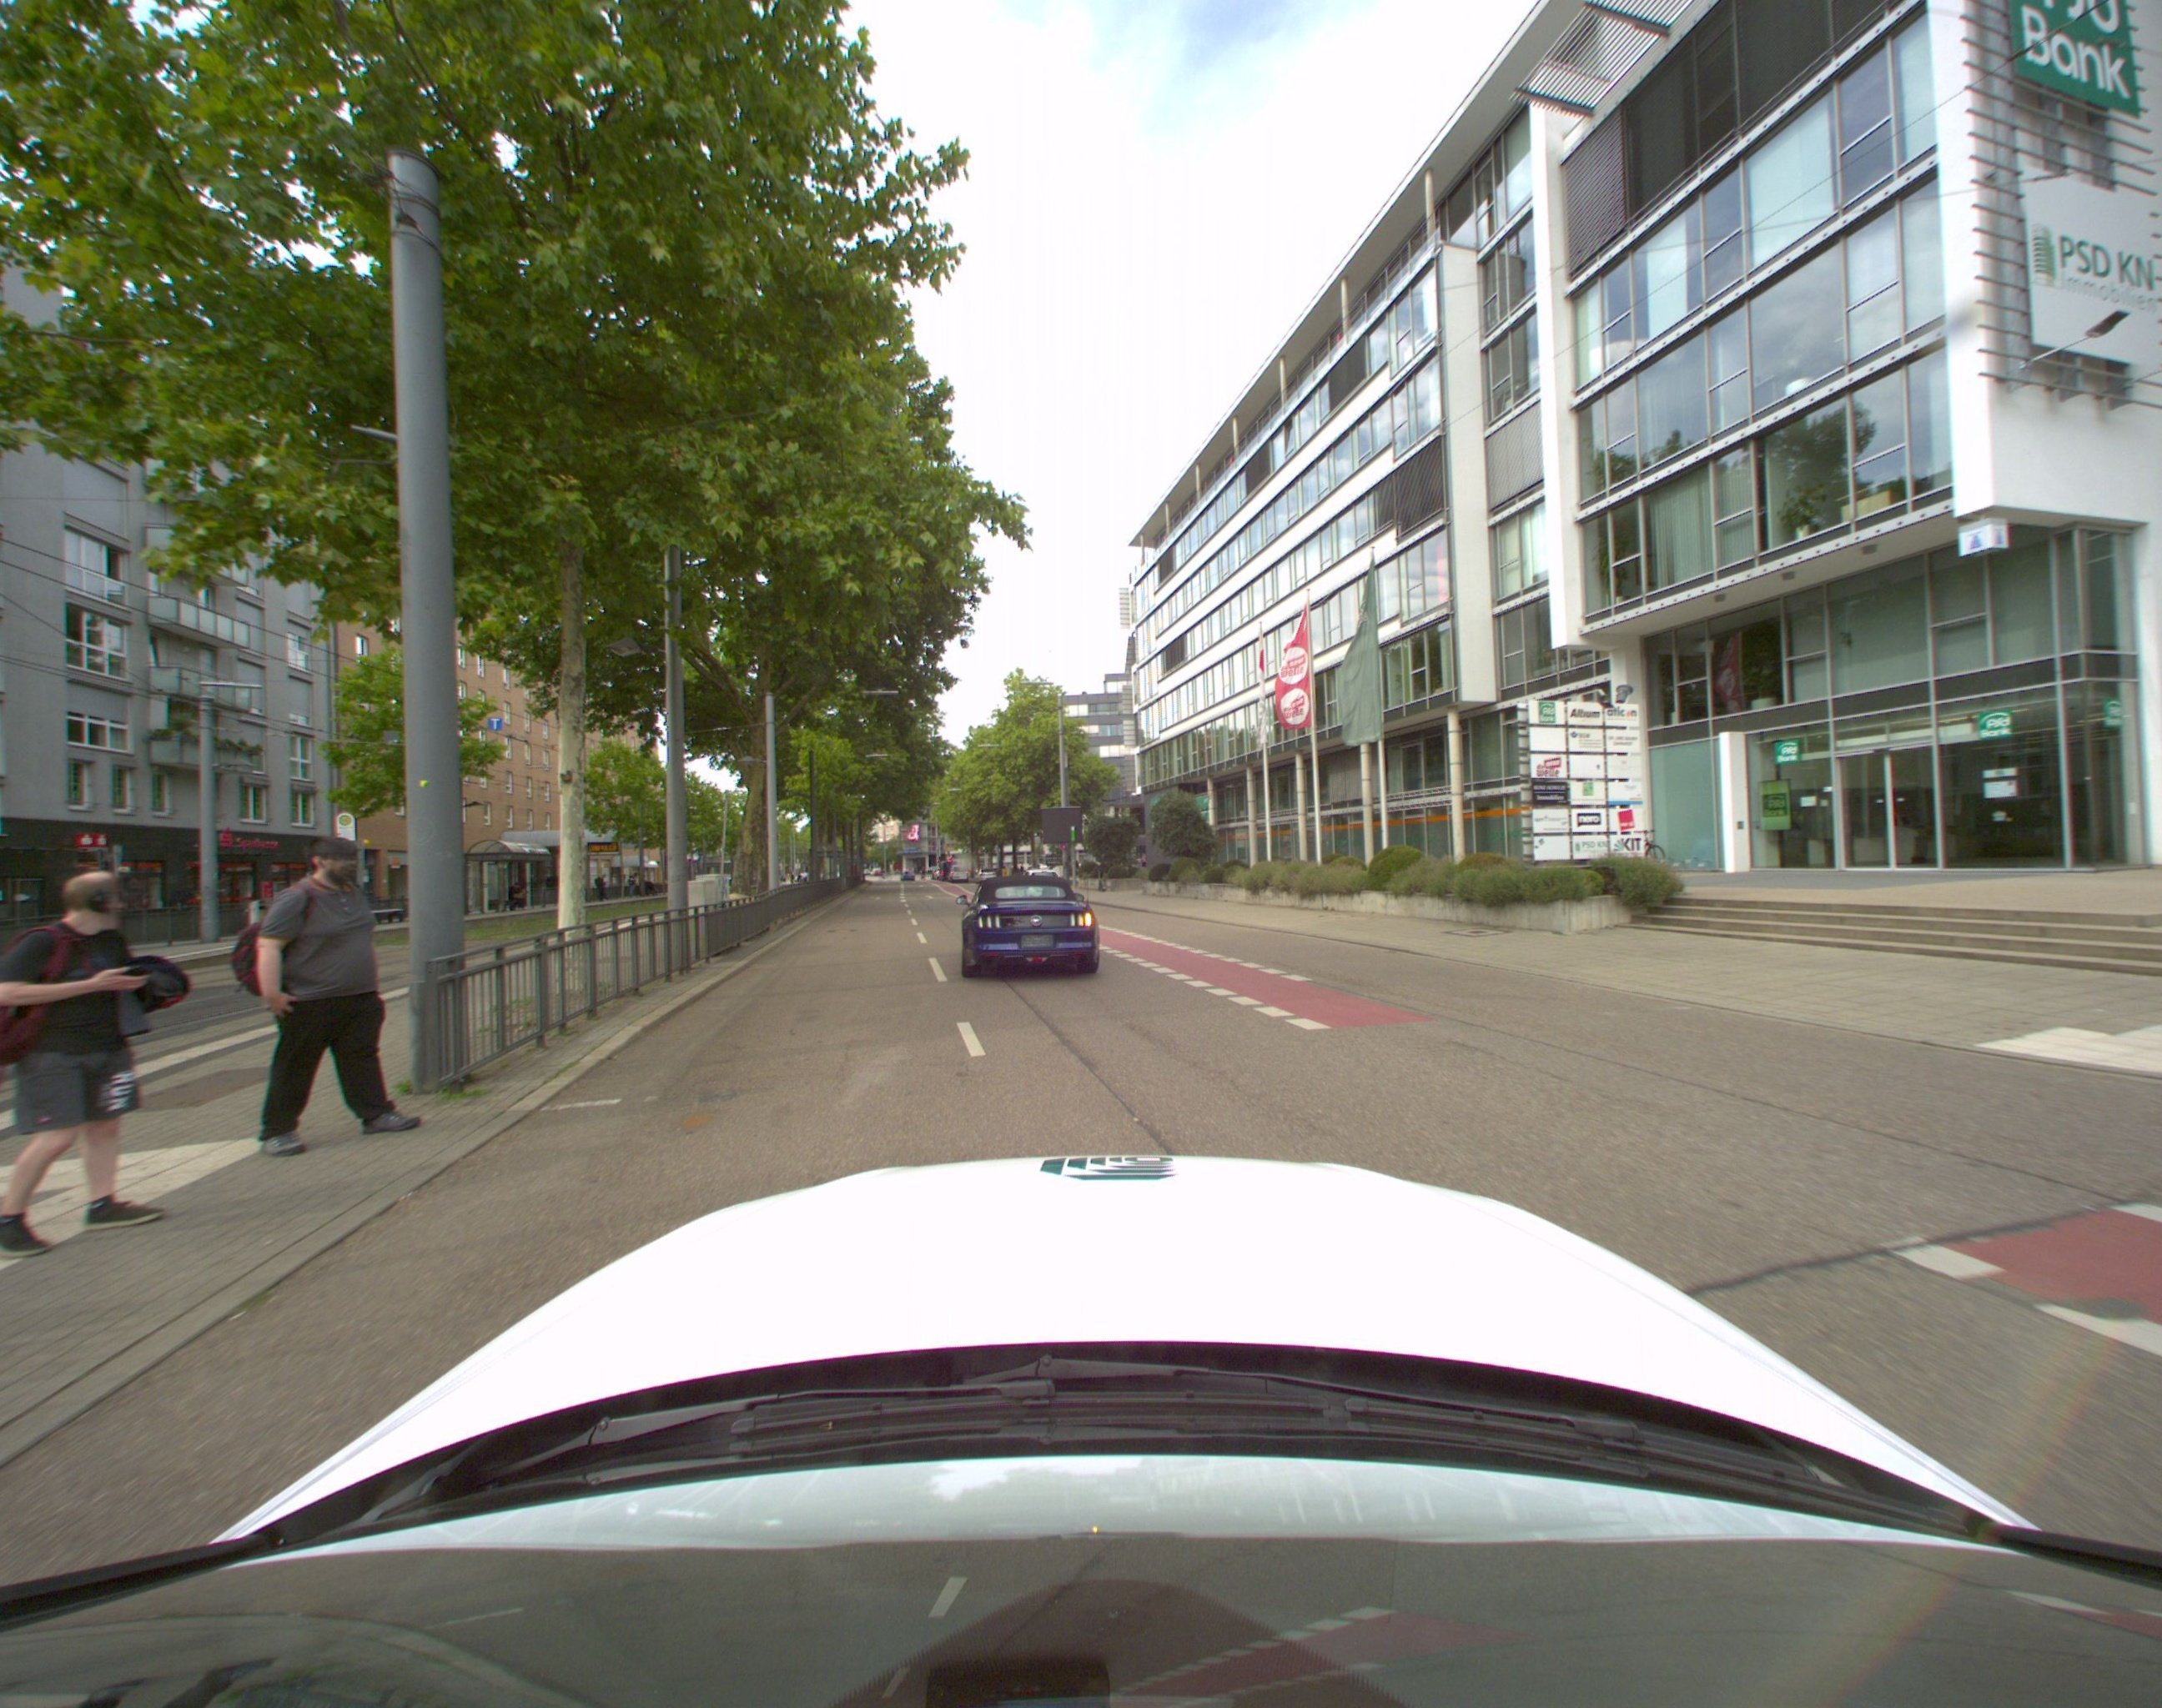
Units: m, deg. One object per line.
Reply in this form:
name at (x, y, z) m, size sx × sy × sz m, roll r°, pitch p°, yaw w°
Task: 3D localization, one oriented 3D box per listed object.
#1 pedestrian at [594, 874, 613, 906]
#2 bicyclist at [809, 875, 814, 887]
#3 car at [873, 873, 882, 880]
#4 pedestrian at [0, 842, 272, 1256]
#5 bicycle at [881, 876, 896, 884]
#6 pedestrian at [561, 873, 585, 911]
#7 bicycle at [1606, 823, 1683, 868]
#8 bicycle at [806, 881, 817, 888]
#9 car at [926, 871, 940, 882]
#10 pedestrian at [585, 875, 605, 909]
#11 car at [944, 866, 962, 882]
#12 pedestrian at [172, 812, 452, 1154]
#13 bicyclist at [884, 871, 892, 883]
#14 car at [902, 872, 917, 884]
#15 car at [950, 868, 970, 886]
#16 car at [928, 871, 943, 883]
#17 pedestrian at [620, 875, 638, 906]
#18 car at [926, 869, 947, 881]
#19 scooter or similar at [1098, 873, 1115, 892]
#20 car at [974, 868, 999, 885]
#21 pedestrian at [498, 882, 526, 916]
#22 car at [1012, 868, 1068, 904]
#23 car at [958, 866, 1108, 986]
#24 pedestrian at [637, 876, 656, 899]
pedestrian at (-29.520, 2.224, 50.332) m, size 0.817 × 1.887 × 0.780 m, roll -2°, pitch -1°, yaw -17°
bicyclist at (-38.713, 3.838, 116.950) m, size 0.672 × 1.731 × 0.510 m, roll -2°, pitch -1°, yaw -14°
car at (-47.636, 5.208, 190.726) m, size 1.837 × 1.521 × 4.157 m, roll -2°, pitch -1°, yaw -12°
pedestrian at (-4.596, 0.809, 3.763) m, size 0.763 × 1.671 × 0.936 m, roll -2°, pitch -1°, yaw -7°
bicycle at (-28.386, 3.820, 120.040) m, size 2.020 × 1.086 × 0.666 m, roll -2°, pitch -1°, yaw -14°
pedestrian at (-26.011, 1.919, 41.686) m, size 0.817 × 1.887 × 0.780 m, roll -2°, pitch -1°, yaw -17°
bicycle at (15.539, -0.230, 22.449) m, size 2.113 × 1.177 × 0.583 m, roll -1°, pitch 0°, yaw -18°
bicycle at (-38.702, 4.323, 116.935) m, size 1.408 × 0.931 × 0.510 m, roll -2°, pitch -1°, yaw -14°
car at (-21.314, 3.177, 116.927) m, size 1.837 × 1.521 × 4.157 m, roll -2°, pitch -1°, yaw -12°
pedestrian at (-28.567, 2.224, 47.865) m, size 0.817 × 1.887 × 0.780 m, roll -2°, pitch -1°, yaw -17°
car at (-16.016, 2.524, 101.706) m, size 1.837 × 1.903 × 4.157 m, roll -2°, pitch -1°, yaw -12°
pedestrian at (-4.591, 0.719, 4.933) m, size 0.839 × 1.855 × 0.841 m, roll -2°, pitch -1°, yaw 1°
bicyclist at (-28.414, 3.428, 120.044) m, size 1.008 × 1.660 × 0.644 m, roll -2°, pitch -1°, yaw -14°
car at (-23.181, 3.195, 110.224) m, size 1.837 × 1.547 × 4.196 m, roll -2°, pitch -1°, yaw -12°
car at (-13.301, 2.531, 89.361) m, size 1.892 × 1.903 × 4.111 m, roll -2°, pitch -1°, yaw -12°
car at (-19.743, 3.057, 110.548) m, size 1.837 × 1.521 × 4.157 m, roll -2°, pitch -1°, yaw -12°
pedestrian at (-29.715, 2.390, 53.573) m, size 0.816 × 1.993 × 0.781 m, roll -2°, pitch -1°, yaw -17°
car at (-28.306, 4.115, 159.500) m, size 3.986 × 2.014 × 1.994 m, roll -2°, pitch -1°, yaw -9°
scooter or similar at (1.349, 1.511, 43.434) m, size 0.587 × 0.950 × 1.854 m, roll -2°, pitch -1°, yaw -8°
car at (-9.310, 2.228, 80.314) m, size 1.883 × 1.582 × 4.304 m, roll -1°, pitch -1°, yaw -14°
pedestrian at (-26.485, 2.096, 37.910) m, size 0.817 × 1.537 × 0.780 m, roll -2°, pitch -1°, yaw -17°
car at (-1.896, 1.402, 36.526) m, size 1.837 × 1.439 × 4.169 m, roll -2°, pitch -1°, yaw -12°
car at (-0.894, 0.939, 12.527) m, size 1.875 × 1.404 × 4.270 m, roll -2°, pitch 0°, yaw -8°
pedestrian at (-31.329, 2.405, 58.758) m, size 0.997 × 1.600 × 0.846 m, roll -2°, pitch -1°, yaw -17°
